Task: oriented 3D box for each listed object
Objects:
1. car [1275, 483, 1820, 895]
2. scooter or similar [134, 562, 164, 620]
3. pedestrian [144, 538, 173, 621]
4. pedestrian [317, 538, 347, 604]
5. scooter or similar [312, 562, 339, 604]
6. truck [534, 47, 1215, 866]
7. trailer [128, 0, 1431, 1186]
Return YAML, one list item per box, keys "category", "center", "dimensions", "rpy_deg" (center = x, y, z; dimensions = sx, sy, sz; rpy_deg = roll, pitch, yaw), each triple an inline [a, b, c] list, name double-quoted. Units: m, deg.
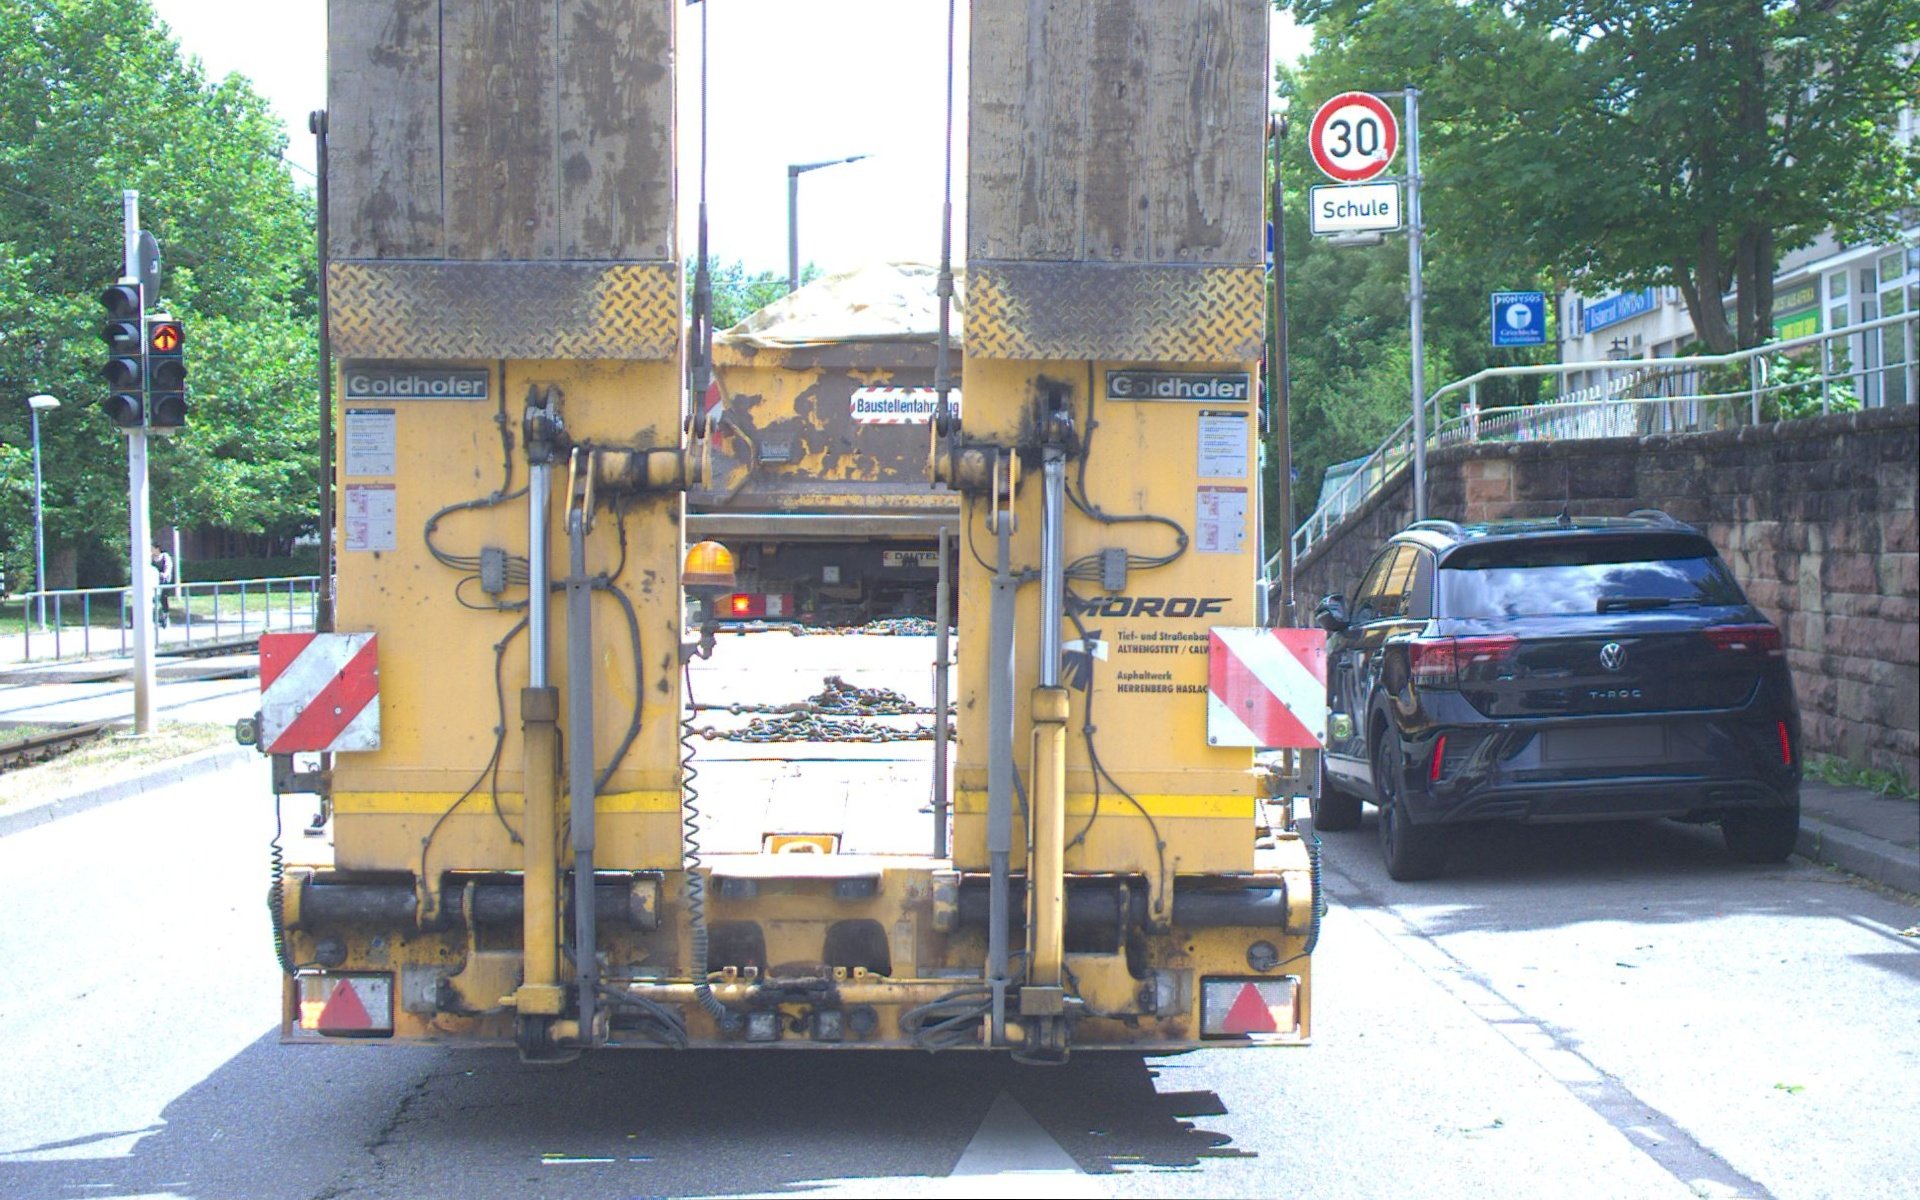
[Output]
- category: "car"
  center: [2.604, 0.343, 16.166]
  dimensions: [1.851, 1.633, 4.000]
  rpy_deg: [-2, 1, 0]
- category: "scooter or similar"
  center: [-14.906, -0.171, 63.198]
  dimensions: [0.338, 1.054, 0.687]
  rpy_deg: [-1, 1, 4]
- category: "pedestrian"
  center: [-14.882, -0.387, 63.832]
  dimensions: [0.348, 1.531, 0.557]
  rpy_deg: [-1, 1, 3]
- category: "pedestrian"
  center: [-14.672, -0.679, 80.273]
  dimensions: [0.563, 1.508, 0.646]
  rpy_deg: [1, 1, -1]
- category: "scooter or similar"
  center: [-14.686, -0.397, 79.625]
  dimensions: [0.505, 0.968, 0.646]
  rpy_deg: [1, 1, -1]
- category: "truck"
  center: [-0.365, -0.684, 17.624]
  dimensions: [2.942, 3.560, 4.877]
  rpy_deg: [-1, 1, 0]
- category: "trailer"
  center: [-0.387, -0.568, 12.245]
  dimensions: [2.945, 3.589, 8.684]
  rpy_deg: [-1, 1, 0]
